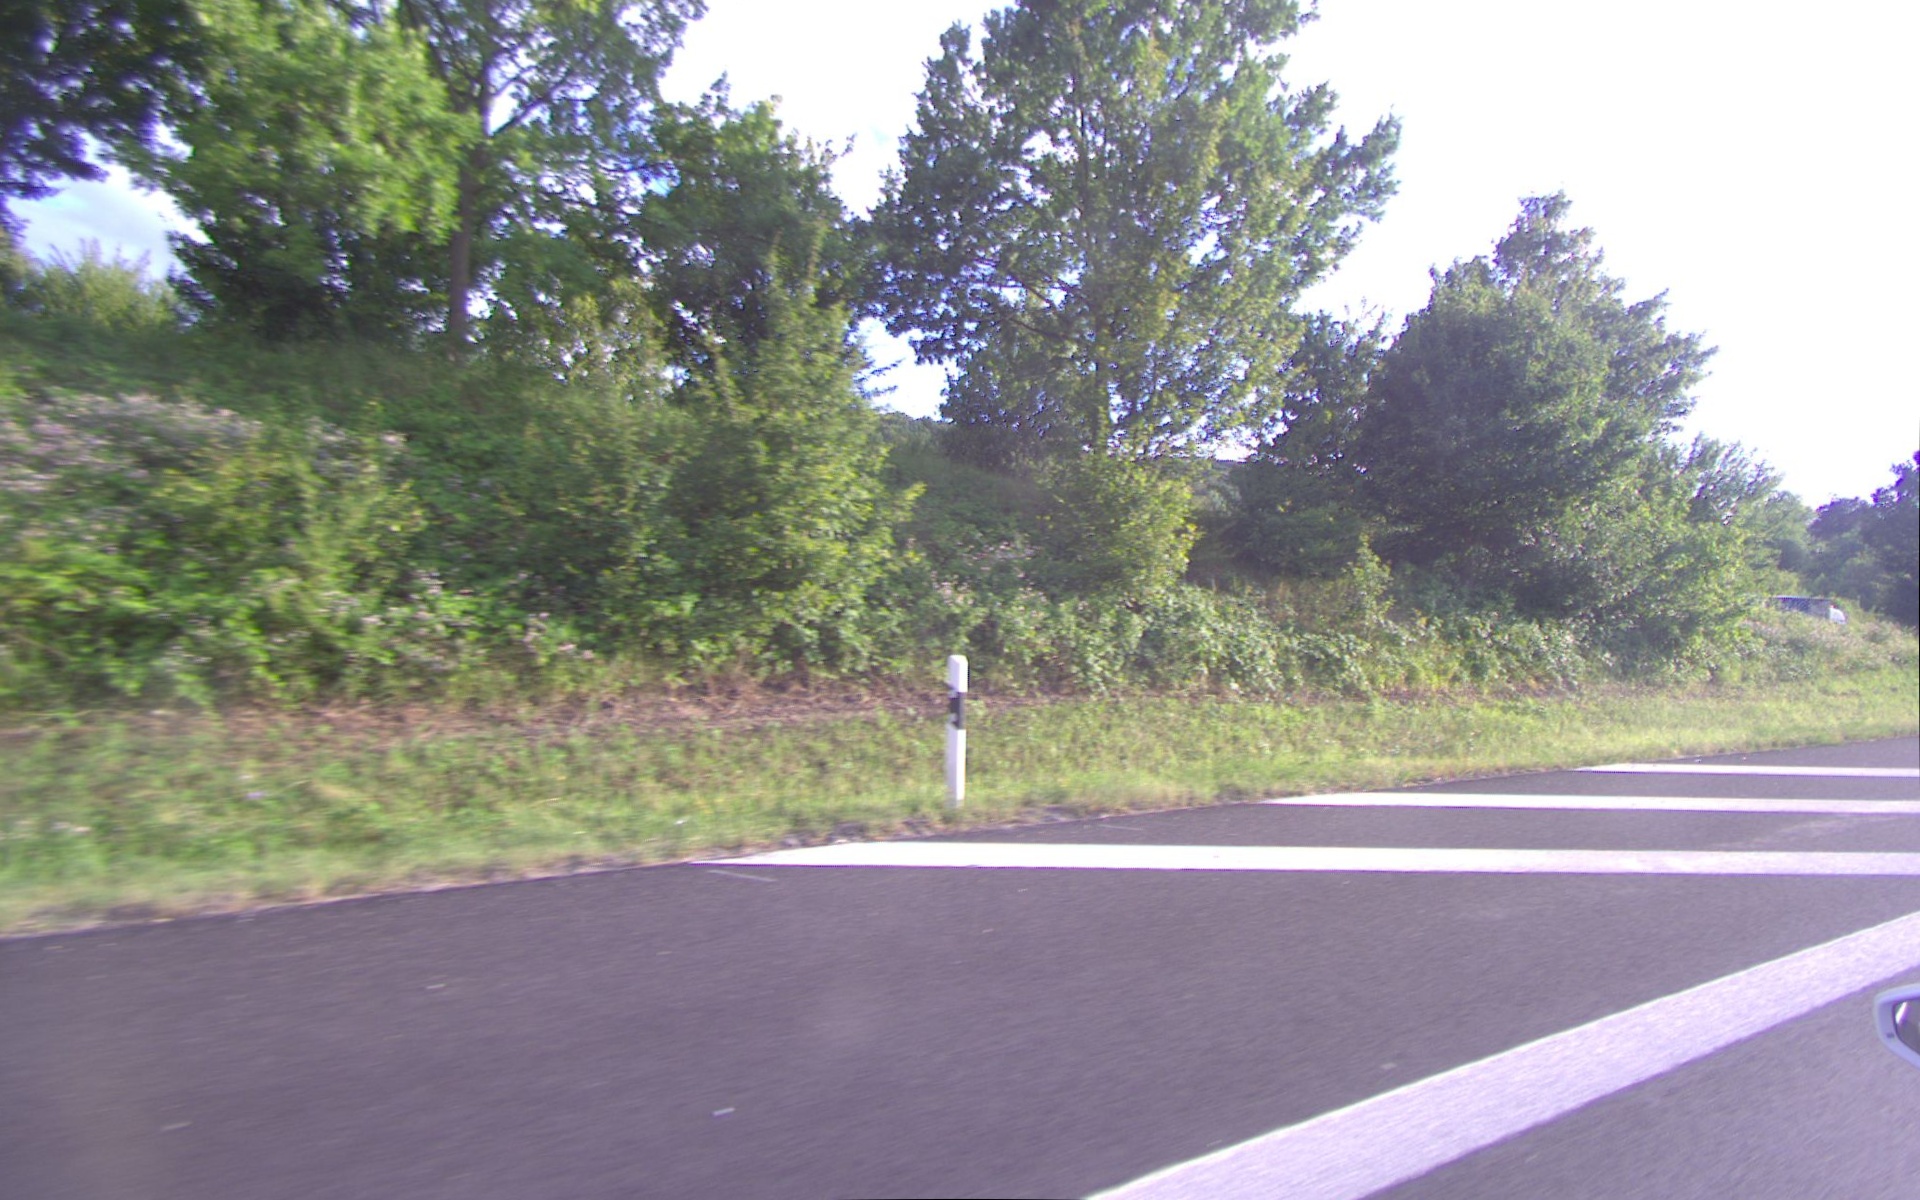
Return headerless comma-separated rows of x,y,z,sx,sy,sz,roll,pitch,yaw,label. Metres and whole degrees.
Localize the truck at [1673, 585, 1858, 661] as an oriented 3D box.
44.656,1.316,55.708,9.501,3.839,2.922,2,-2,-14,truck
